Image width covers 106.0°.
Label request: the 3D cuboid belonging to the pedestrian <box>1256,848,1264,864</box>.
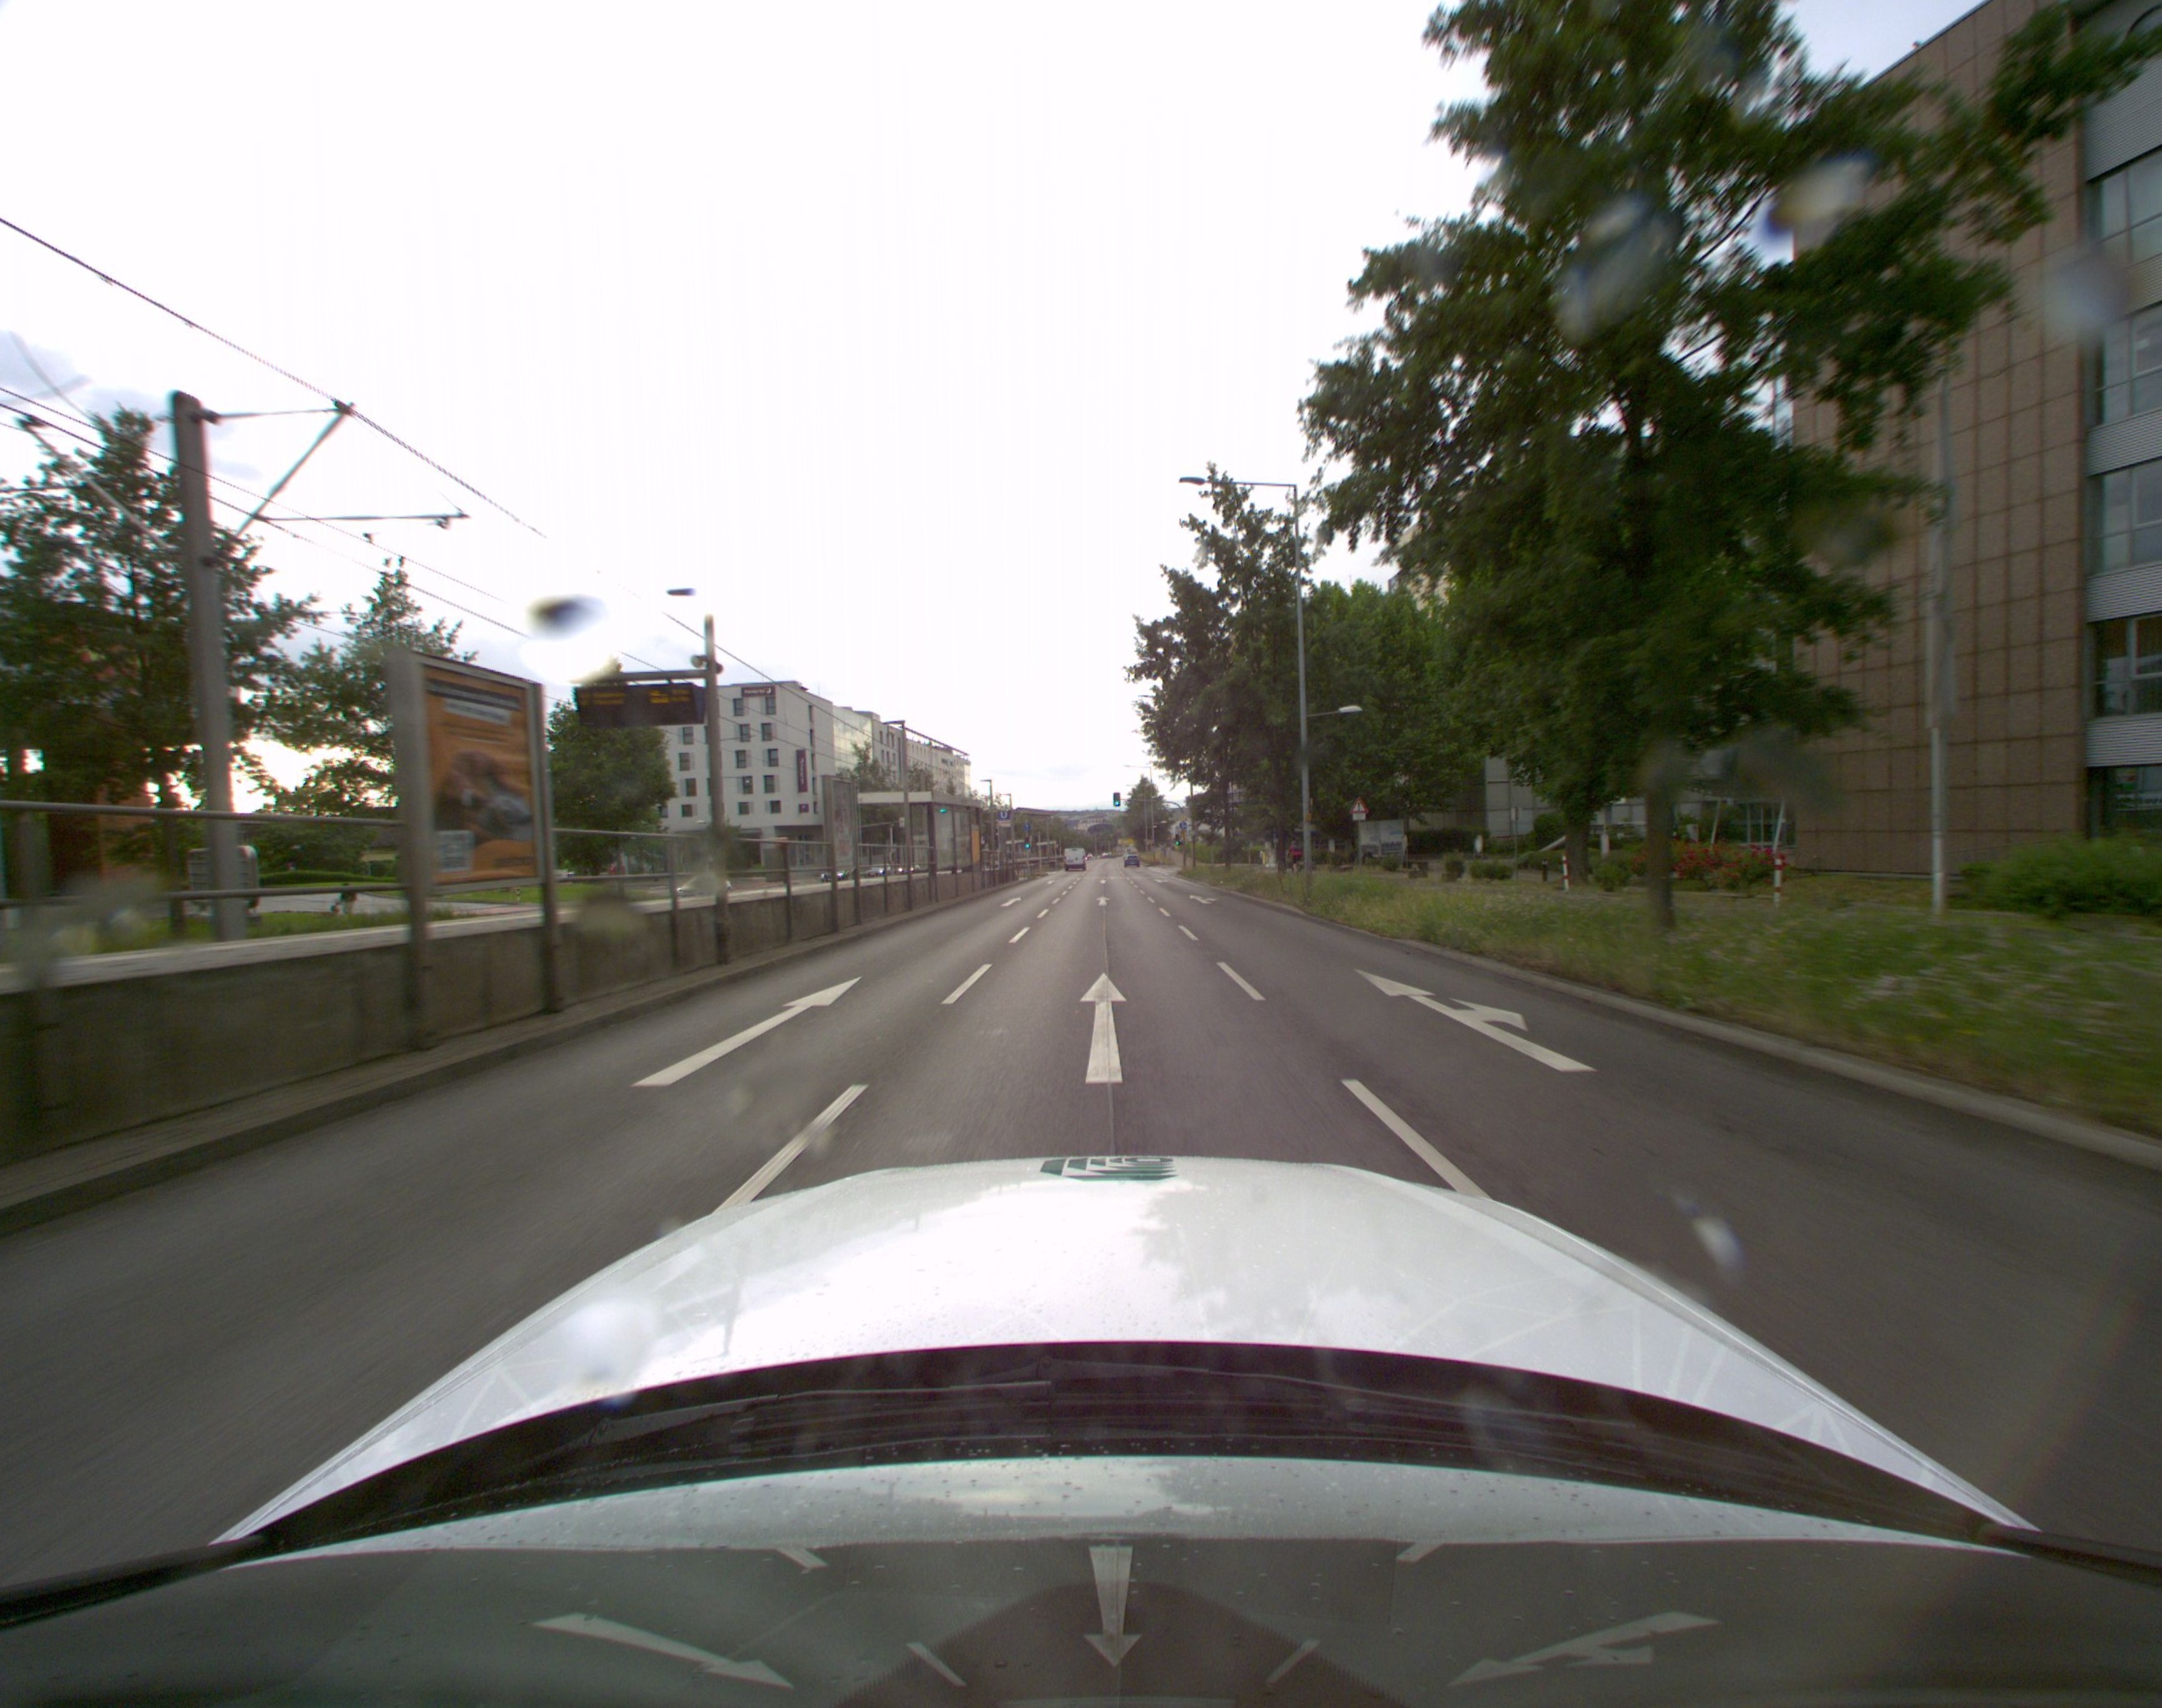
[{"bbox_3d":[18.268,0.178,83.222,0.553,1.652,0.830,-2,0,-8],"label":"pedestrian"}]

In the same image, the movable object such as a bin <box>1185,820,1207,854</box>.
[{"bbox_3d":[20.185,-2.956,143.115,3.275,5.685,8.775,0,0,5],"label":"movable object such as a bin"}]

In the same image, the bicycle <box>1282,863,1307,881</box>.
[{"bbox_3d":[10.179,0.855,38.914,0.665,0.809,2.319,0,0,2],"label":"bicycle"}]

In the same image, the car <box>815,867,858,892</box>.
[{"bbox_3d":[-19.419,1.974,64.862,1.986,1.774,4.390,-2,0,2],"label":"car"}]

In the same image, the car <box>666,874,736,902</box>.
[{"bbox_3d":[-22.708,2.021,48.917,1.987,1.517,4.706,0,0,0],"label":"car"}]

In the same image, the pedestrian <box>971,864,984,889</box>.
[{"bbox_3d":[-6.847,1.492,53.812,0.704,1.650,0.644,-1,0,-27],"label":"pedestrian"}]

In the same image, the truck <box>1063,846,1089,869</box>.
[{"bbox_3d":[-0.497,0.350,83.245,2.350,2.262,5.310,0,0,3],"label":"truck"}]

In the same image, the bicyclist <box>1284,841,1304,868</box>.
[{"bbox_3d":[10.192,0.023,38.960,0.653,1.288,1.220,0,0,1],"label":"bicyclist"}]

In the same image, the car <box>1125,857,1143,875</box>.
[{"bbox_3d":[6.204,1.366,94.457,1.984,2.014,3.940,0,0,5],"label":"car"}]

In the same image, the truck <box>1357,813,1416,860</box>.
[{"bbox_3d":[17.116,-0.924,45.799,1.741,2.518,3.997,0,0,-2],"label":"truck"}]

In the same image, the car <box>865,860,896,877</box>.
[{"bbox_3d":[-19.032,1.386,77.409,1.847,1.427,4.387,-3,0,-1],"label":"car"}]

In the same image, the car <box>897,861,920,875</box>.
[{"bbox_3d":[-19.200,1.523,90.809,1.722,1.423,3.780,-2,0,1],"label":"car"}]
